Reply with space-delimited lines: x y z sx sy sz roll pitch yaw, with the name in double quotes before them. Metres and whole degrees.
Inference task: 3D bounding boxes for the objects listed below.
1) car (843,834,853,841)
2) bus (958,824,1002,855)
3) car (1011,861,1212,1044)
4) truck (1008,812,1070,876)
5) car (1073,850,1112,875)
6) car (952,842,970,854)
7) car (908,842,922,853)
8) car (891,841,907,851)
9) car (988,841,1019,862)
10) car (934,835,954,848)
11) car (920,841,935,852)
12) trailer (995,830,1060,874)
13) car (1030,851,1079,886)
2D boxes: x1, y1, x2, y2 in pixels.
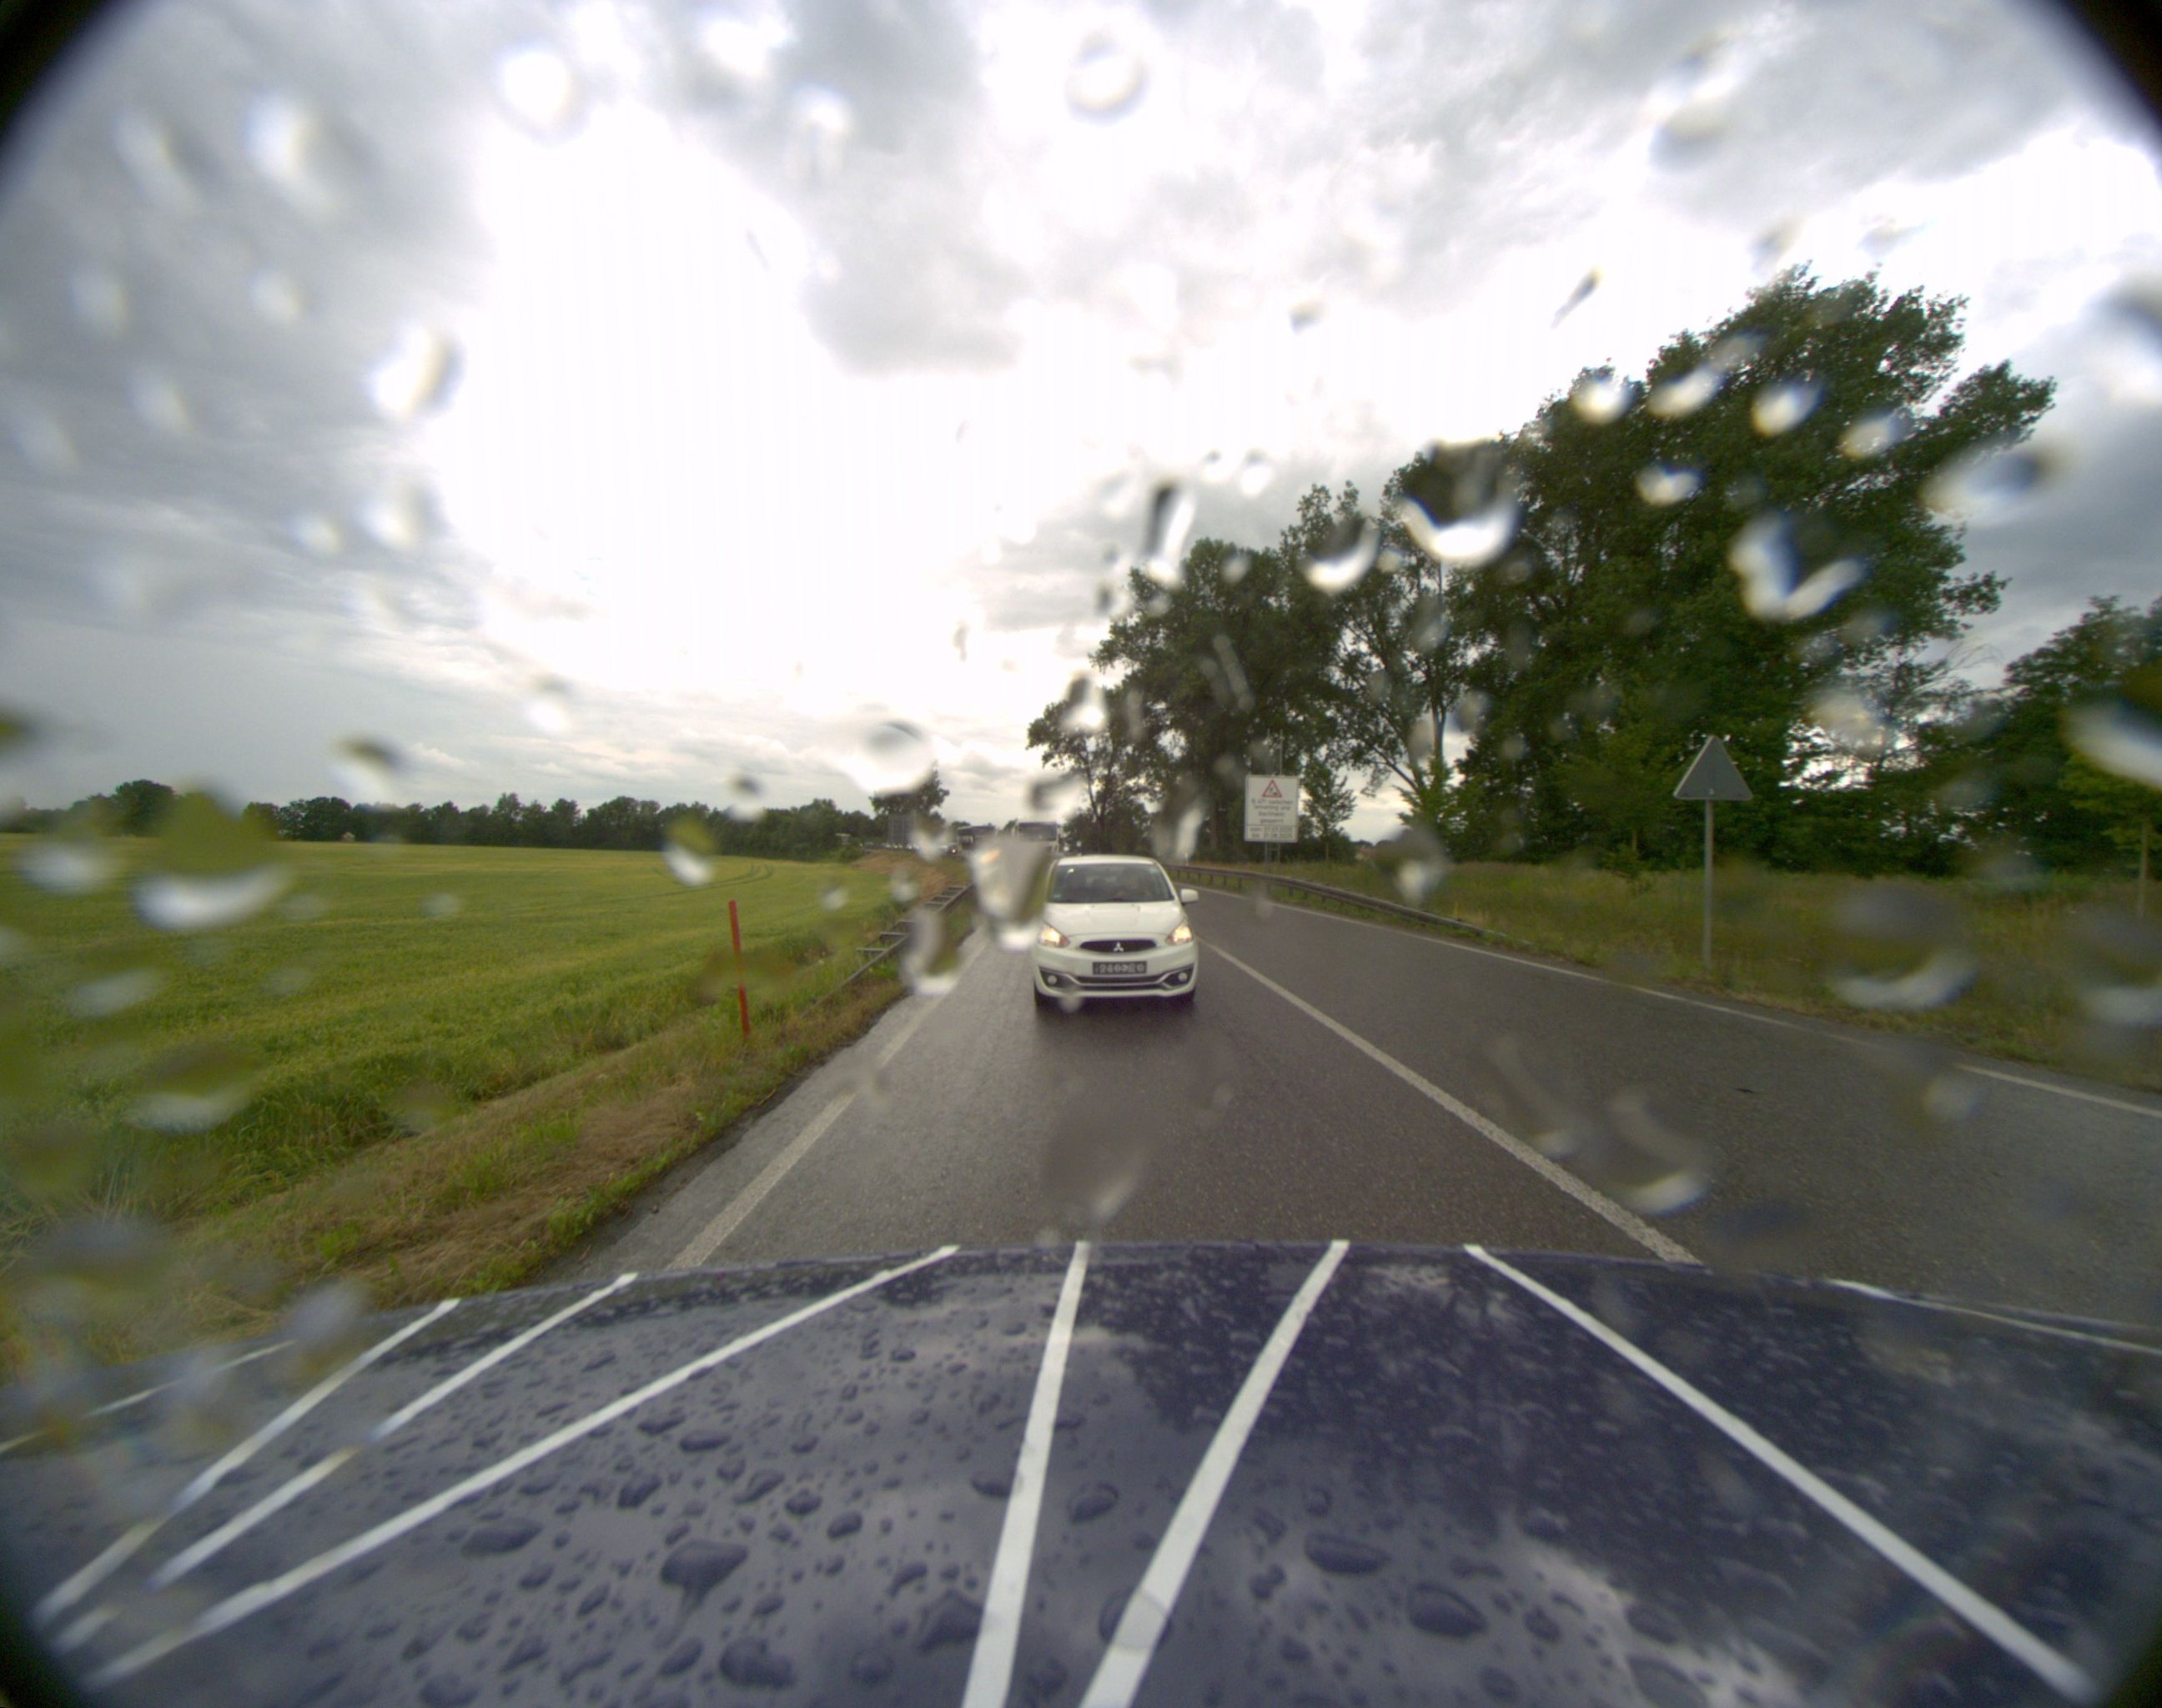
"car" -65.711 -4.595 213.950 1.785 1.918 4.167 -3 2 -30
"bus" -12.084 -1.803 89.570 2.967 3.294 14.812 -2 2 -16
"car" 0.266 0.849 8.404 1.653 1.461 4.030 -2 0 0
"truck" -2.693 -0.627 46.367 2.986 3.590 6.074 -2 2 -10
"car" 0.674 0.501 46.748 1.635 1.389 4.315 -2 1 -9
"car" -16.650 -0.825 105.035 1.816 1.569 3.993 -2 2 -18
"car" -32.079 -1.306 146.722 2.002 2.002 4.223 -2 2 -22
"car" -38.077 -1.630 158.902 2.003 2.002 4.255 -2 2 -29
"car" -7.259 -0.263 70.804 2.044 1.832 5.328 -2 1 -14
"car" -21.808 -1.925 120.772 2.002 2.002 5.325 -2 2 -23
"car" -31.069 -1.553 153.878 2.002 2.002 4.171 -2 2 -25
"trailer" -4.157 -0.290 54.794 2.986 2.618 15.664 -2 1 -10
"car" -1.301 0.614 35.244 1.782 1.380 4.324 -2 1 -8
